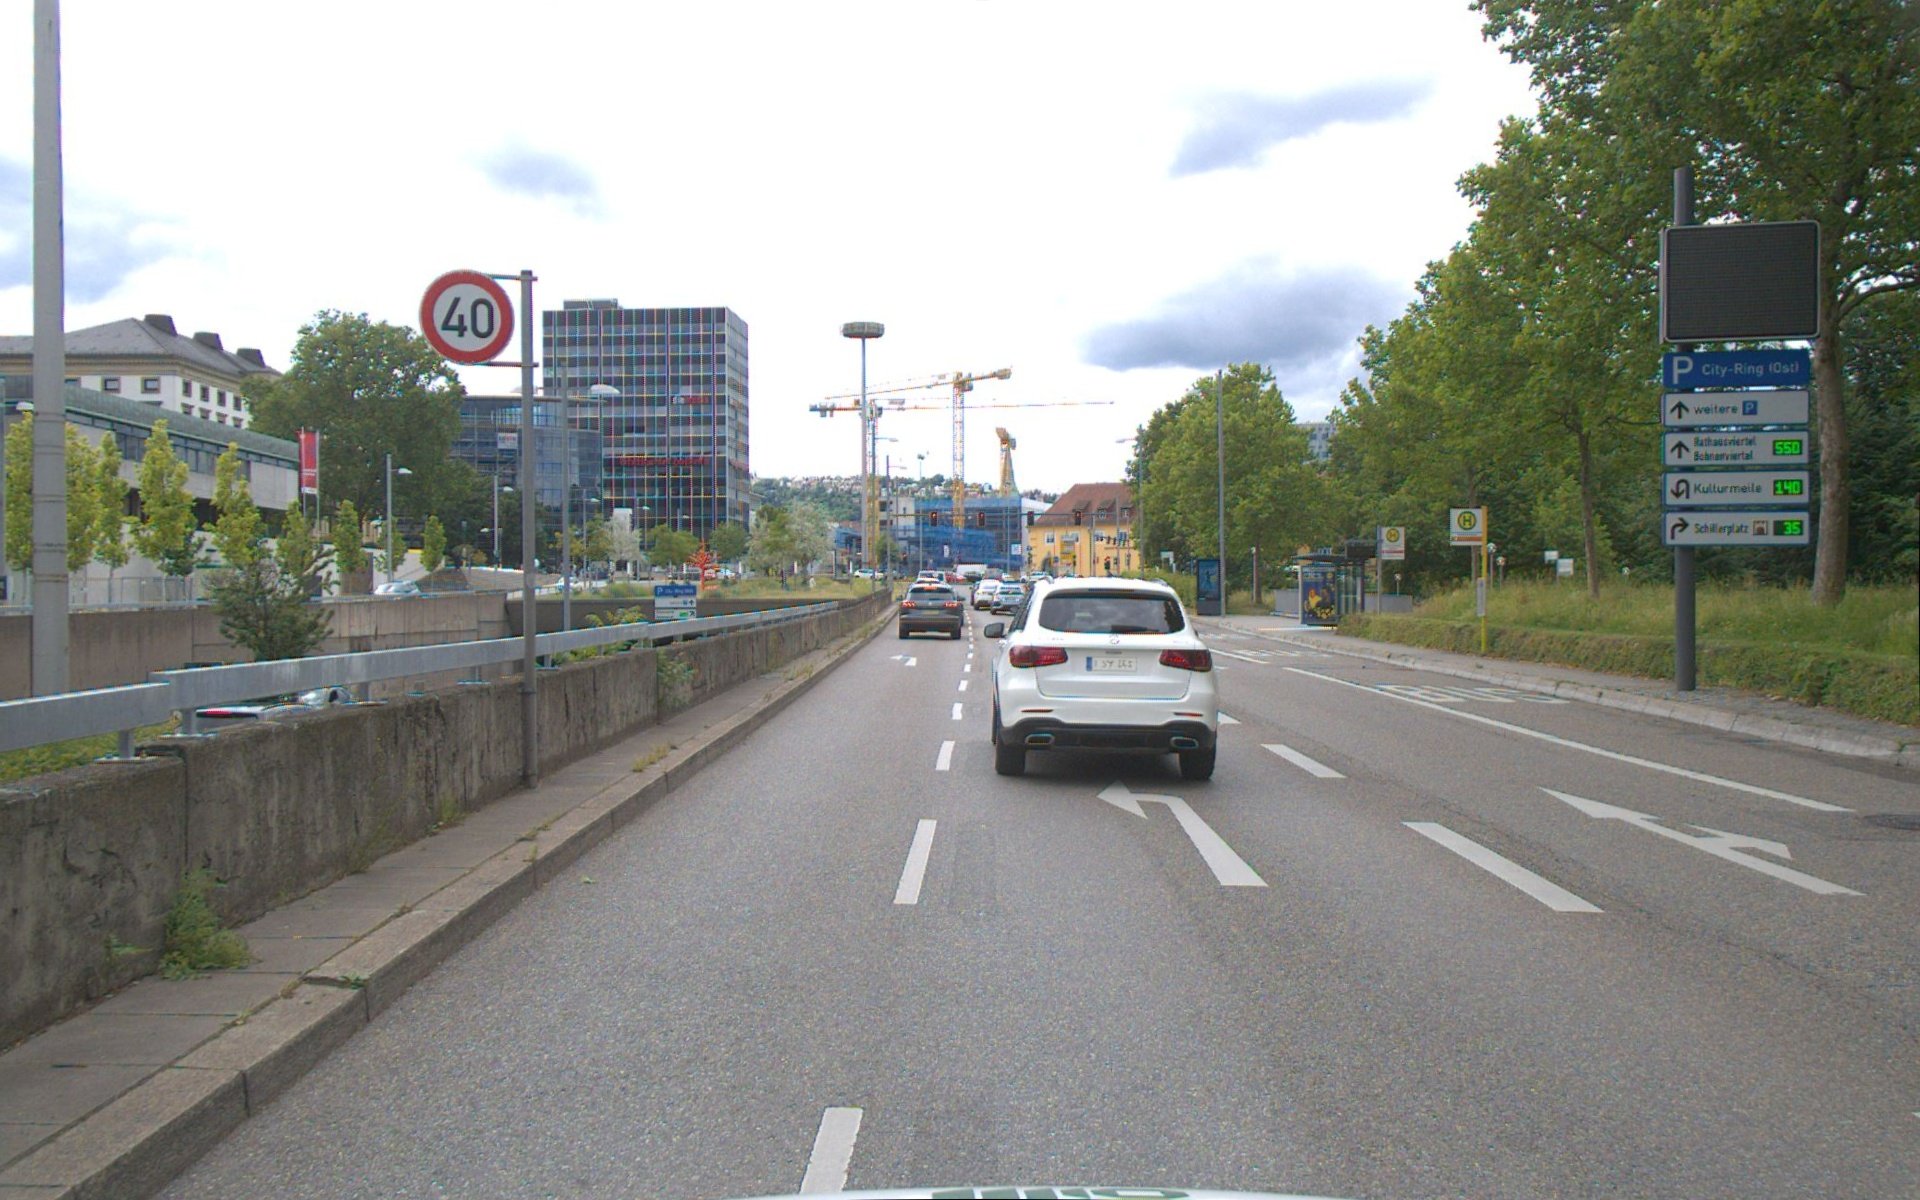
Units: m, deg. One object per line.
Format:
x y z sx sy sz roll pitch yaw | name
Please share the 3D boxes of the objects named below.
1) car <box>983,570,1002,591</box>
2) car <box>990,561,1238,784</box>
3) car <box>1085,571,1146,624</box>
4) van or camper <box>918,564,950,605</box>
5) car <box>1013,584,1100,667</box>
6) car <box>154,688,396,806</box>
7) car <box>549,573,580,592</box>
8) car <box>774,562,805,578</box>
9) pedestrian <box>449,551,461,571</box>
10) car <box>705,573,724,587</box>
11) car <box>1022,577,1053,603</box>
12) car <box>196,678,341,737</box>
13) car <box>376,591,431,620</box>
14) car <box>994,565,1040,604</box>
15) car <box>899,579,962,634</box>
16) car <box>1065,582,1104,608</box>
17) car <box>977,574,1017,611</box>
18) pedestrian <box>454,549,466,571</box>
3.474 -2.064 176.353 1.763 2.049 3.999 2 -1 -1 | car
1.241 0.588 14.914 1.900 1.713 4.000 1 -1 1 | car
6.012 -0.062 64.329 1.937 1.926 4.707 2 -1 1 | car
-1.627 -0.956 103.445 1.883 2.360 3.999 1 -2 -1 | van or camper
2.050 0.538 36.128 1.638 1.656 4.000 2 0 0 | car
-10.801 2.271 26.502 1.775 1.486 4.863 1 -1 1 | car
-33.250 -1.478 139.141 1.772 1.452 3.706 2 -1 -2 | car
-23.109 -4.048 224.296 3.924 2.049 1.990 2 -1 -18 | car
-45.332 -3.496 148.532 0.679 1.759 0.641 2 -1 23 | pedestrian
-30.537 -2.491 205.669 1.829 1.646 3.480 2 -1 -1 | car
5.184 -0.672 111.200 1.684 1.612 3.998 2 0 -2 | car
-17.427 2.696 41.966 1.955 1.162 4.844 2 -1 -5 | car
-28.287 0.277 84.163 1.797 1.384 3.863 2 -1 -6 | car
2.681 -0.702 78.813 1.953 1.691 3.999 2 -1 -1 | car
-0.933 0.177 52.072 1.883 1.630 3.999 1 0 -1 | car
8.336 -0.300 111.191 1.955 1.646 3.996 2 -1 -5 | car
1.949 -0.383 88.033 1.953 1.812 3.999 2 -1 -1 | car
-42.058 -3.353 139.093 0.679 1.759 0.640 1 -1 27 | pedestrian
